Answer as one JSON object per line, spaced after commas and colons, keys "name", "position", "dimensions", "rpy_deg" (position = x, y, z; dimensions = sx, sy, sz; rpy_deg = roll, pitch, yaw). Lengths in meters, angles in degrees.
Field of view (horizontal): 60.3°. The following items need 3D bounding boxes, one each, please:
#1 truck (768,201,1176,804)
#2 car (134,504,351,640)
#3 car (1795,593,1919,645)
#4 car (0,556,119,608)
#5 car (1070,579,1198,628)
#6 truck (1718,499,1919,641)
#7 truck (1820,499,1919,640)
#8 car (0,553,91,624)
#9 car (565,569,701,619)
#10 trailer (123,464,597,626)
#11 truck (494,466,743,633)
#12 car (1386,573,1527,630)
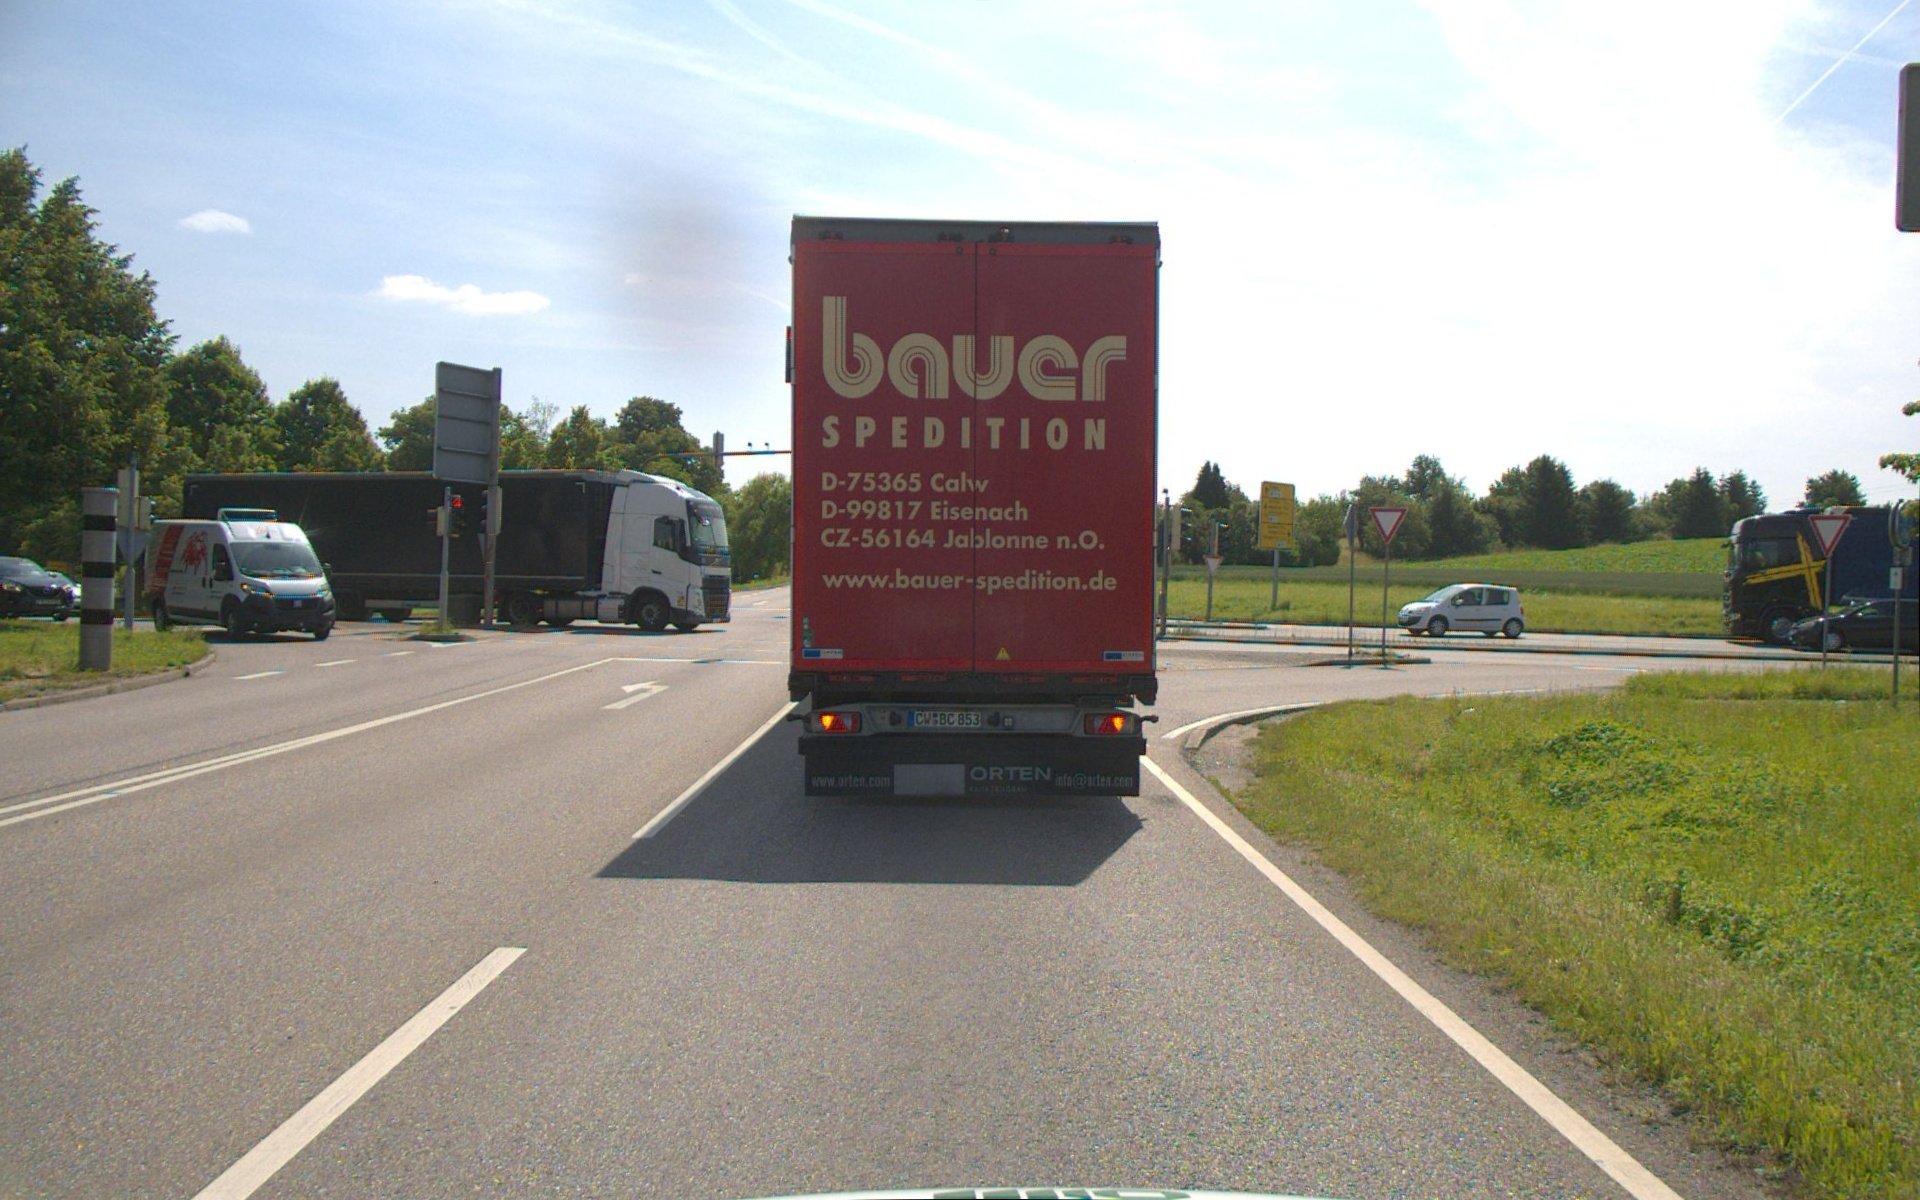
{"name": "truck", "position": [0.008, -0.755, 19.381], "dimensions": [2.679, 3.993, 16.624], "rpy_deg": [1, 1, -1]}
{"name": "car", "position": [-15.634, -0.656, 35.855], "dimensions": [5.883, 2.700, 2.111], "rpy_deg": [3, 1, 43]}
{"name": "car", "position": [25.175, 0.529, 45.260], "dimensions": [3.903, 1.333, 1.767], "rpy_deg": [1, -1, 18]}
{"name": "car", "position": [-28.355, -0.573, 51.089], "dimensions": [4.157, 1.486, 1.811], "rpy_deg": [2, 1, 18]}
{"name": "car", "position": [5.343, 0.097, 50.669], "dimensions": [3.766, 1.380, 1.678], "rpy_deg": [2, 0, 9]}
{"name": "truck", "position": [26.652, -0.912, 49.506], "dimensions": [6.785, 4.063, 3.029], "rpy_deg": [2, 1, 18]}
{"name": "truck", "position": [32.725, -0.750, 47.349], "dimensions": [13.989, 4.049, 3.028], "rpy_deg": [2, 1, 21]}
{"name": "car", "position": [-24.945, -0.303, 43.948], "dimensions": [4.034, 1.780, 1.863], "rpy_deg": [1, -1, 40]}
{"name": "car", "position": [-10.846, -0.199, 54.954], "dimensions": [4.011, 1.575, 1.875], "rpy_deg": [0, -2, 12]}
{"name": "trailer", "position": [-16.705, -1.590, 45.754], "dimensions": [13.397, 4.132, 2.800], "rpy_deg": [2, 1, 18]}
{"name": "truck", "position": [-8.917, -1.350, 43.445], "dimensions": [5.702, 4.132, 2.800], "rpy_deg": [1, 1, 15]}
{"name": "car", "position": [15.169, 0.047, 50.566], "dimensions": [3.755, 1.662, 1.758], "rpy_deg": [1, 0, -9]}
